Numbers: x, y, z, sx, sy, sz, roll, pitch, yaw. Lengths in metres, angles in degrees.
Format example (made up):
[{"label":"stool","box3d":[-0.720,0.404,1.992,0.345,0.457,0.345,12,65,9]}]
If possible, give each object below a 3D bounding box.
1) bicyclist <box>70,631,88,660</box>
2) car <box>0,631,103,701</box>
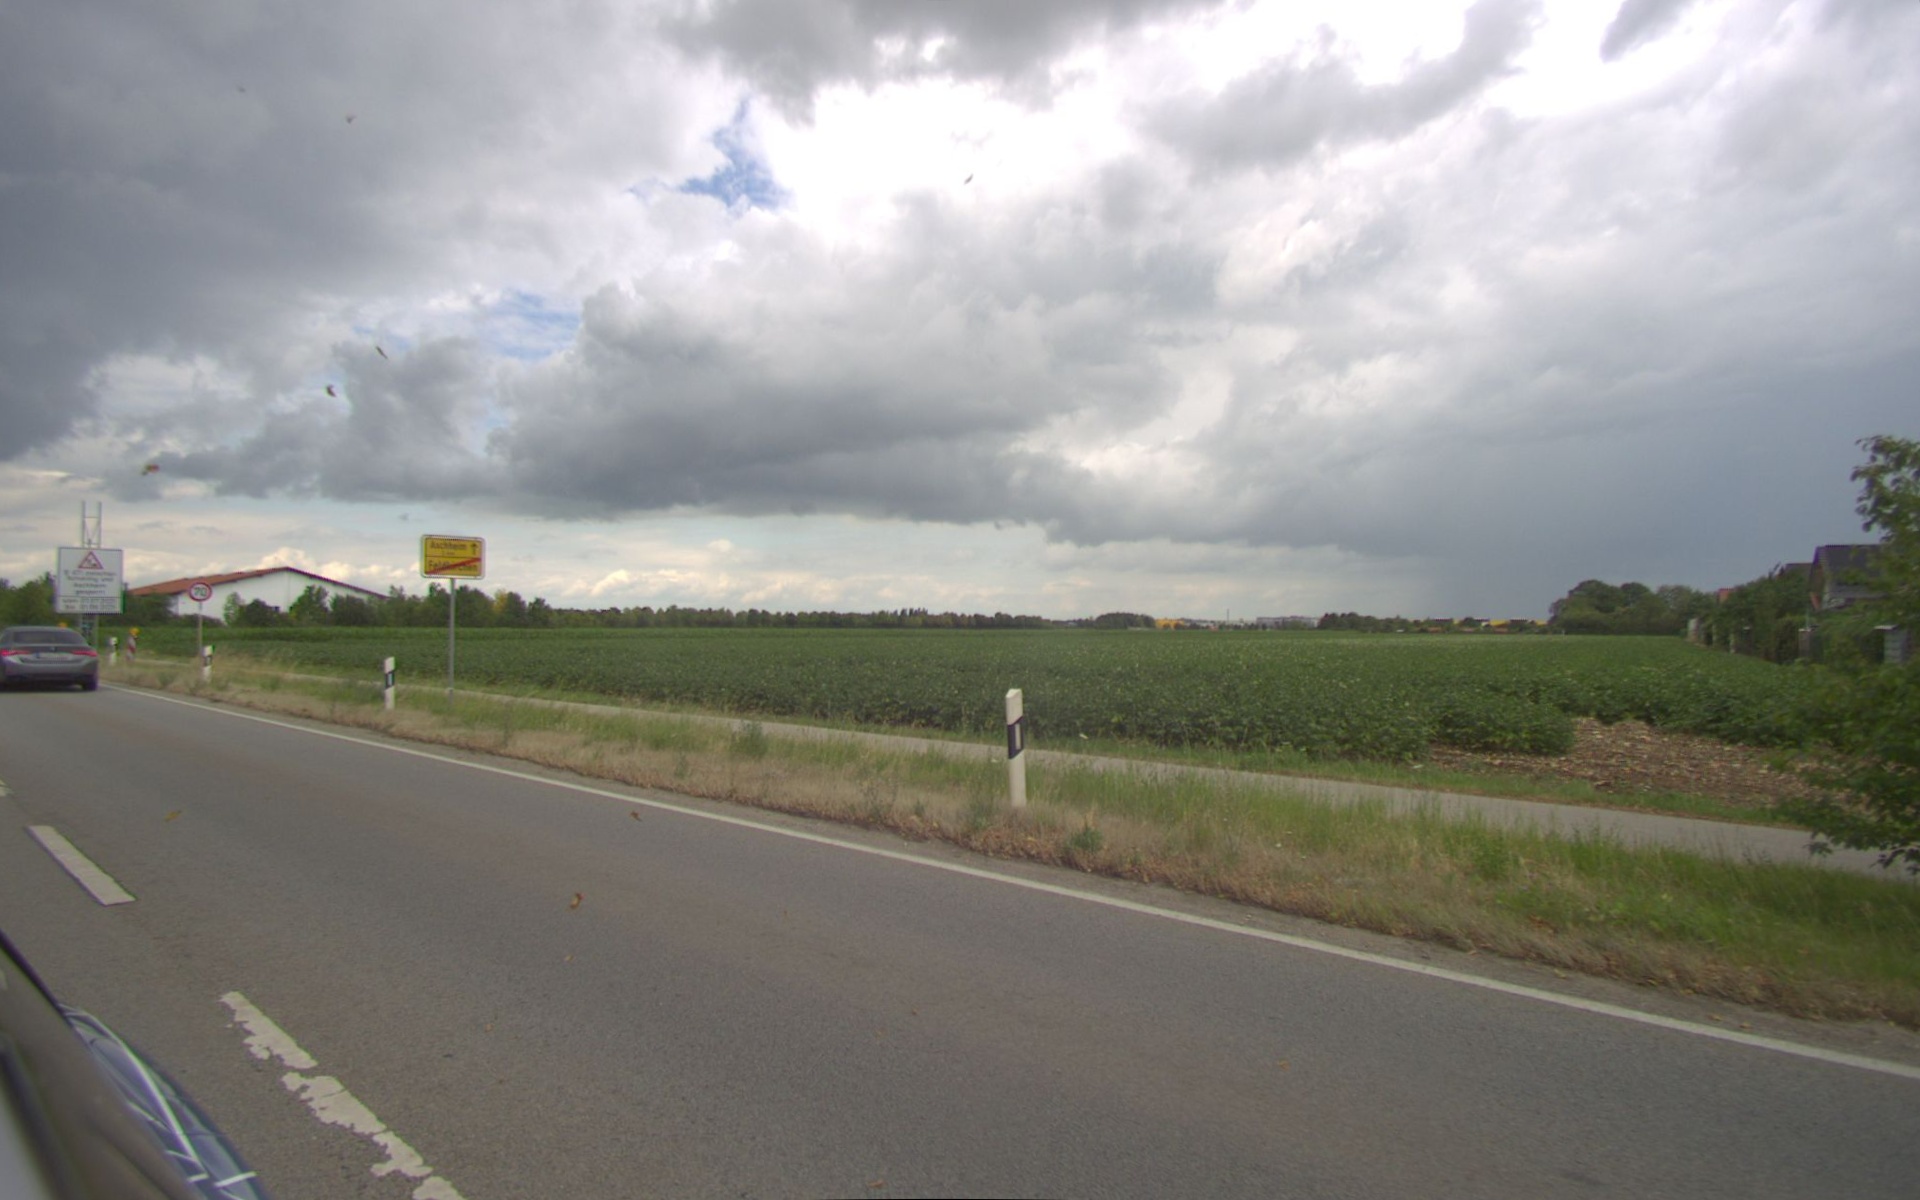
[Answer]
[{"label":"bicyclist","box3d":[-49.665,2.577,57.034,1.222,1.596,0.523,-2,-4,41]},{"label":"car","box3d":[-21.547,1.475,23.501,4.368,1.475,1.833,-1,-3,41]}]
